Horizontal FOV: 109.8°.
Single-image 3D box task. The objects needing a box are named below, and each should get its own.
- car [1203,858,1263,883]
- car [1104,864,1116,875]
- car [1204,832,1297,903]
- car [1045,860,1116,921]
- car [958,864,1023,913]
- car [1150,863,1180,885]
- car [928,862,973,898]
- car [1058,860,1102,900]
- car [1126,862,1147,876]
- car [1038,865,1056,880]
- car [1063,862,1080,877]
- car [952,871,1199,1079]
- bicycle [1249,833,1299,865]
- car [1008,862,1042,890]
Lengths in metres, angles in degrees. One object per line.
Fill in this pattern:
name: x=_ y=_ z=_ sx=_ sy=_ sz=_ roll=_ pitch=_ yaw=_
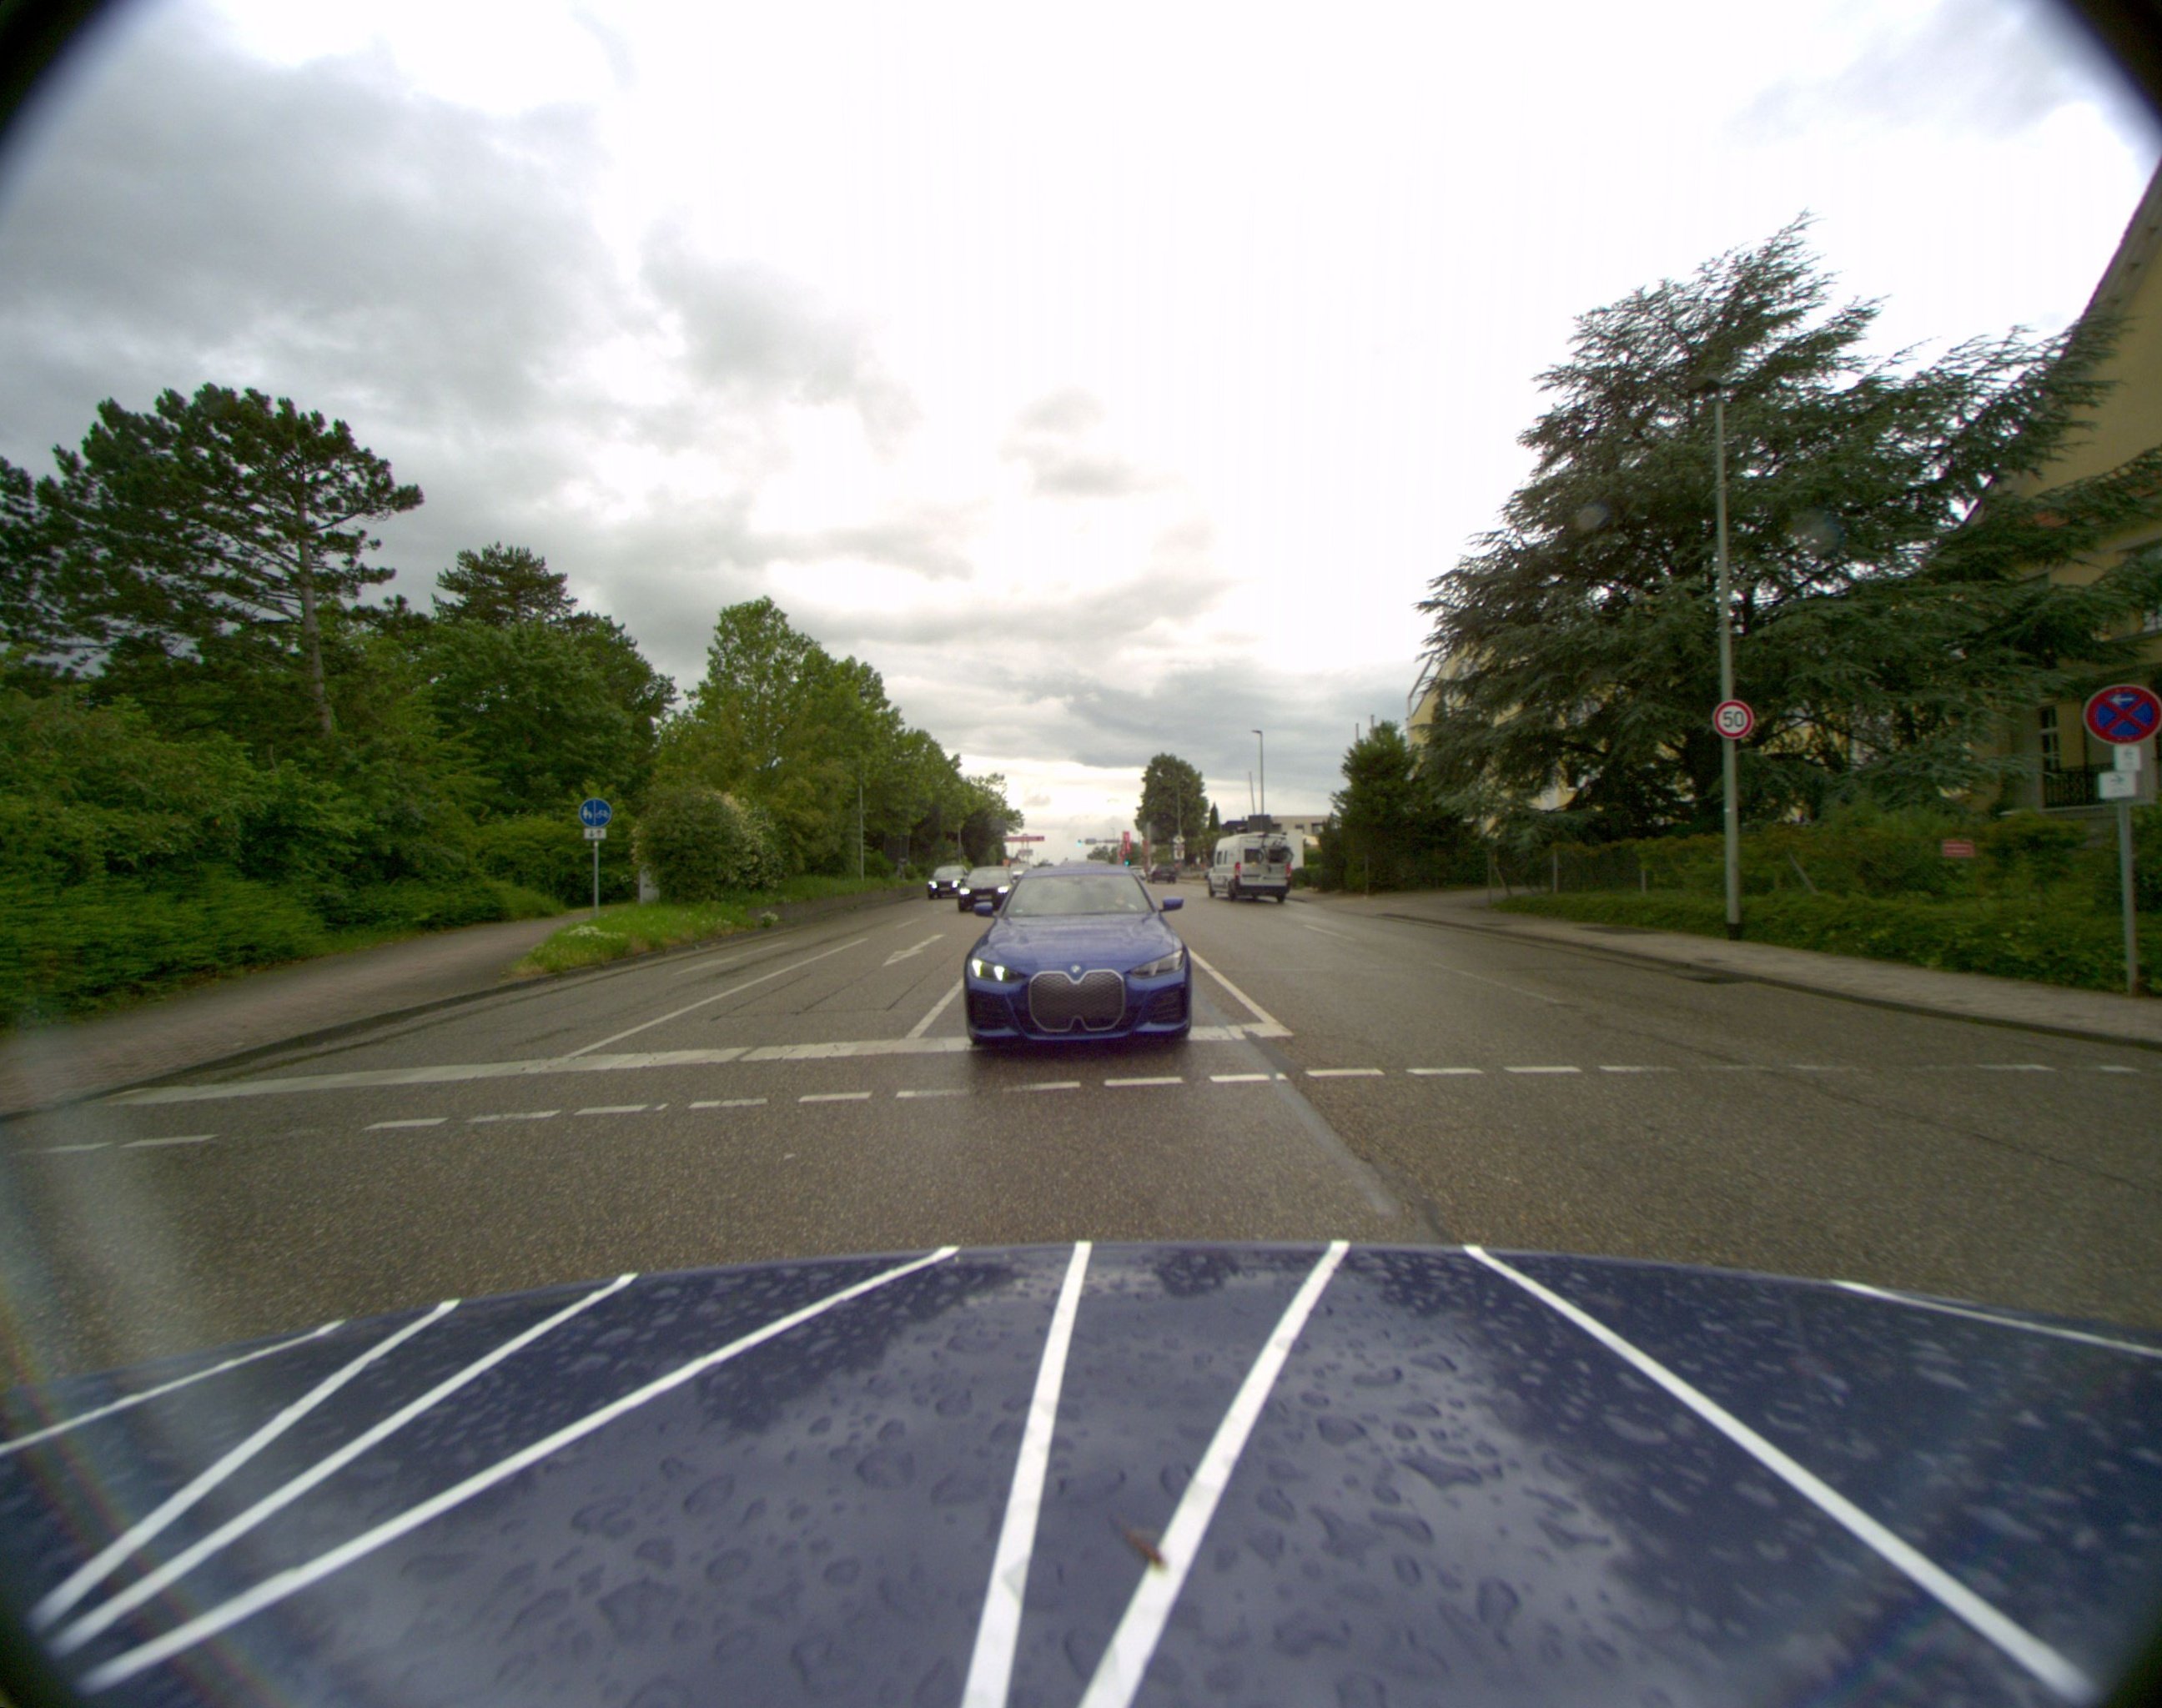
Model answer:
car: x=10.530 y=1.110 z=52.899 sx=3.930 sy=1.642 sz=1.719 roll=-1 pitch=0 yaw=6
car: x=4.789 y=2.539 z=124.592 sx=1.704 sy=1.590 sz=3.549 roll=-1 pitch=0 yaw=-2
car: x=6.503 y=0.477 z=29.933 sx=2.303 sy=2.513 sz=5.773 roll=1 pitch=0 yaw=0
car: x=-0.009 y=0.965 z=21.856 sx=1.807 sy=1.543 sz=4.223 roll=-1 pitch=-1 yaw=0
car: x=-3.136 y=1.152 z=27.185 sx=1.795 sy=1.451 sz=4.719 roll=-2 pitch=0 yaw=-1
car: x=6.318 y=1.487 z=57.575 sx=1.780 sy=1.493 sz=4.471 roll=-1 pitch=0 yaw=-1
car: x=-6.675 y=1.300 z=39.173 sx=1.705 sy=1.612 sz=3.840 roll=-3 pitch=1 yaw=-3
car: x=-0.041 y=1.084 z=33.235 sx=1.807 sy=1.543 sz=4.000 roll=-1 pitch=0 yaw=0
car: x=5.734 y=1.534 z=78.909 sx=1.751 sy=1.389 sz=3.801 roll=-1 pitch=0 yaw=-3
car: x=-3.827 y=2.043 z=85.624 sx=1.829 sy=1.612 sz=3.841 roll=-1 pitch=0 yaw=-1
car: x=-1.193 y=1.964 z=98.857 sx=1.928 sy=1.708 sz=4.099 roll=-5 pitch=0 yaw=0
car: x=-0.054 y=0.941 z=7.762 sx=1.804 sy=1.399 sz=4.272 roll=-1 pitch=0 yaw=0
bicycle: x=6.788 y=-0.164 z=26.786 sx=1.640 sy=1.119 sz=0.468 roll=1 pitch=0 yaw=-1
car: x=-3.718 y=1.447 z=51.383 sx=1.979 sy=1.612 sz=3.841 roll=-3 pitch=1 yaw=-1
